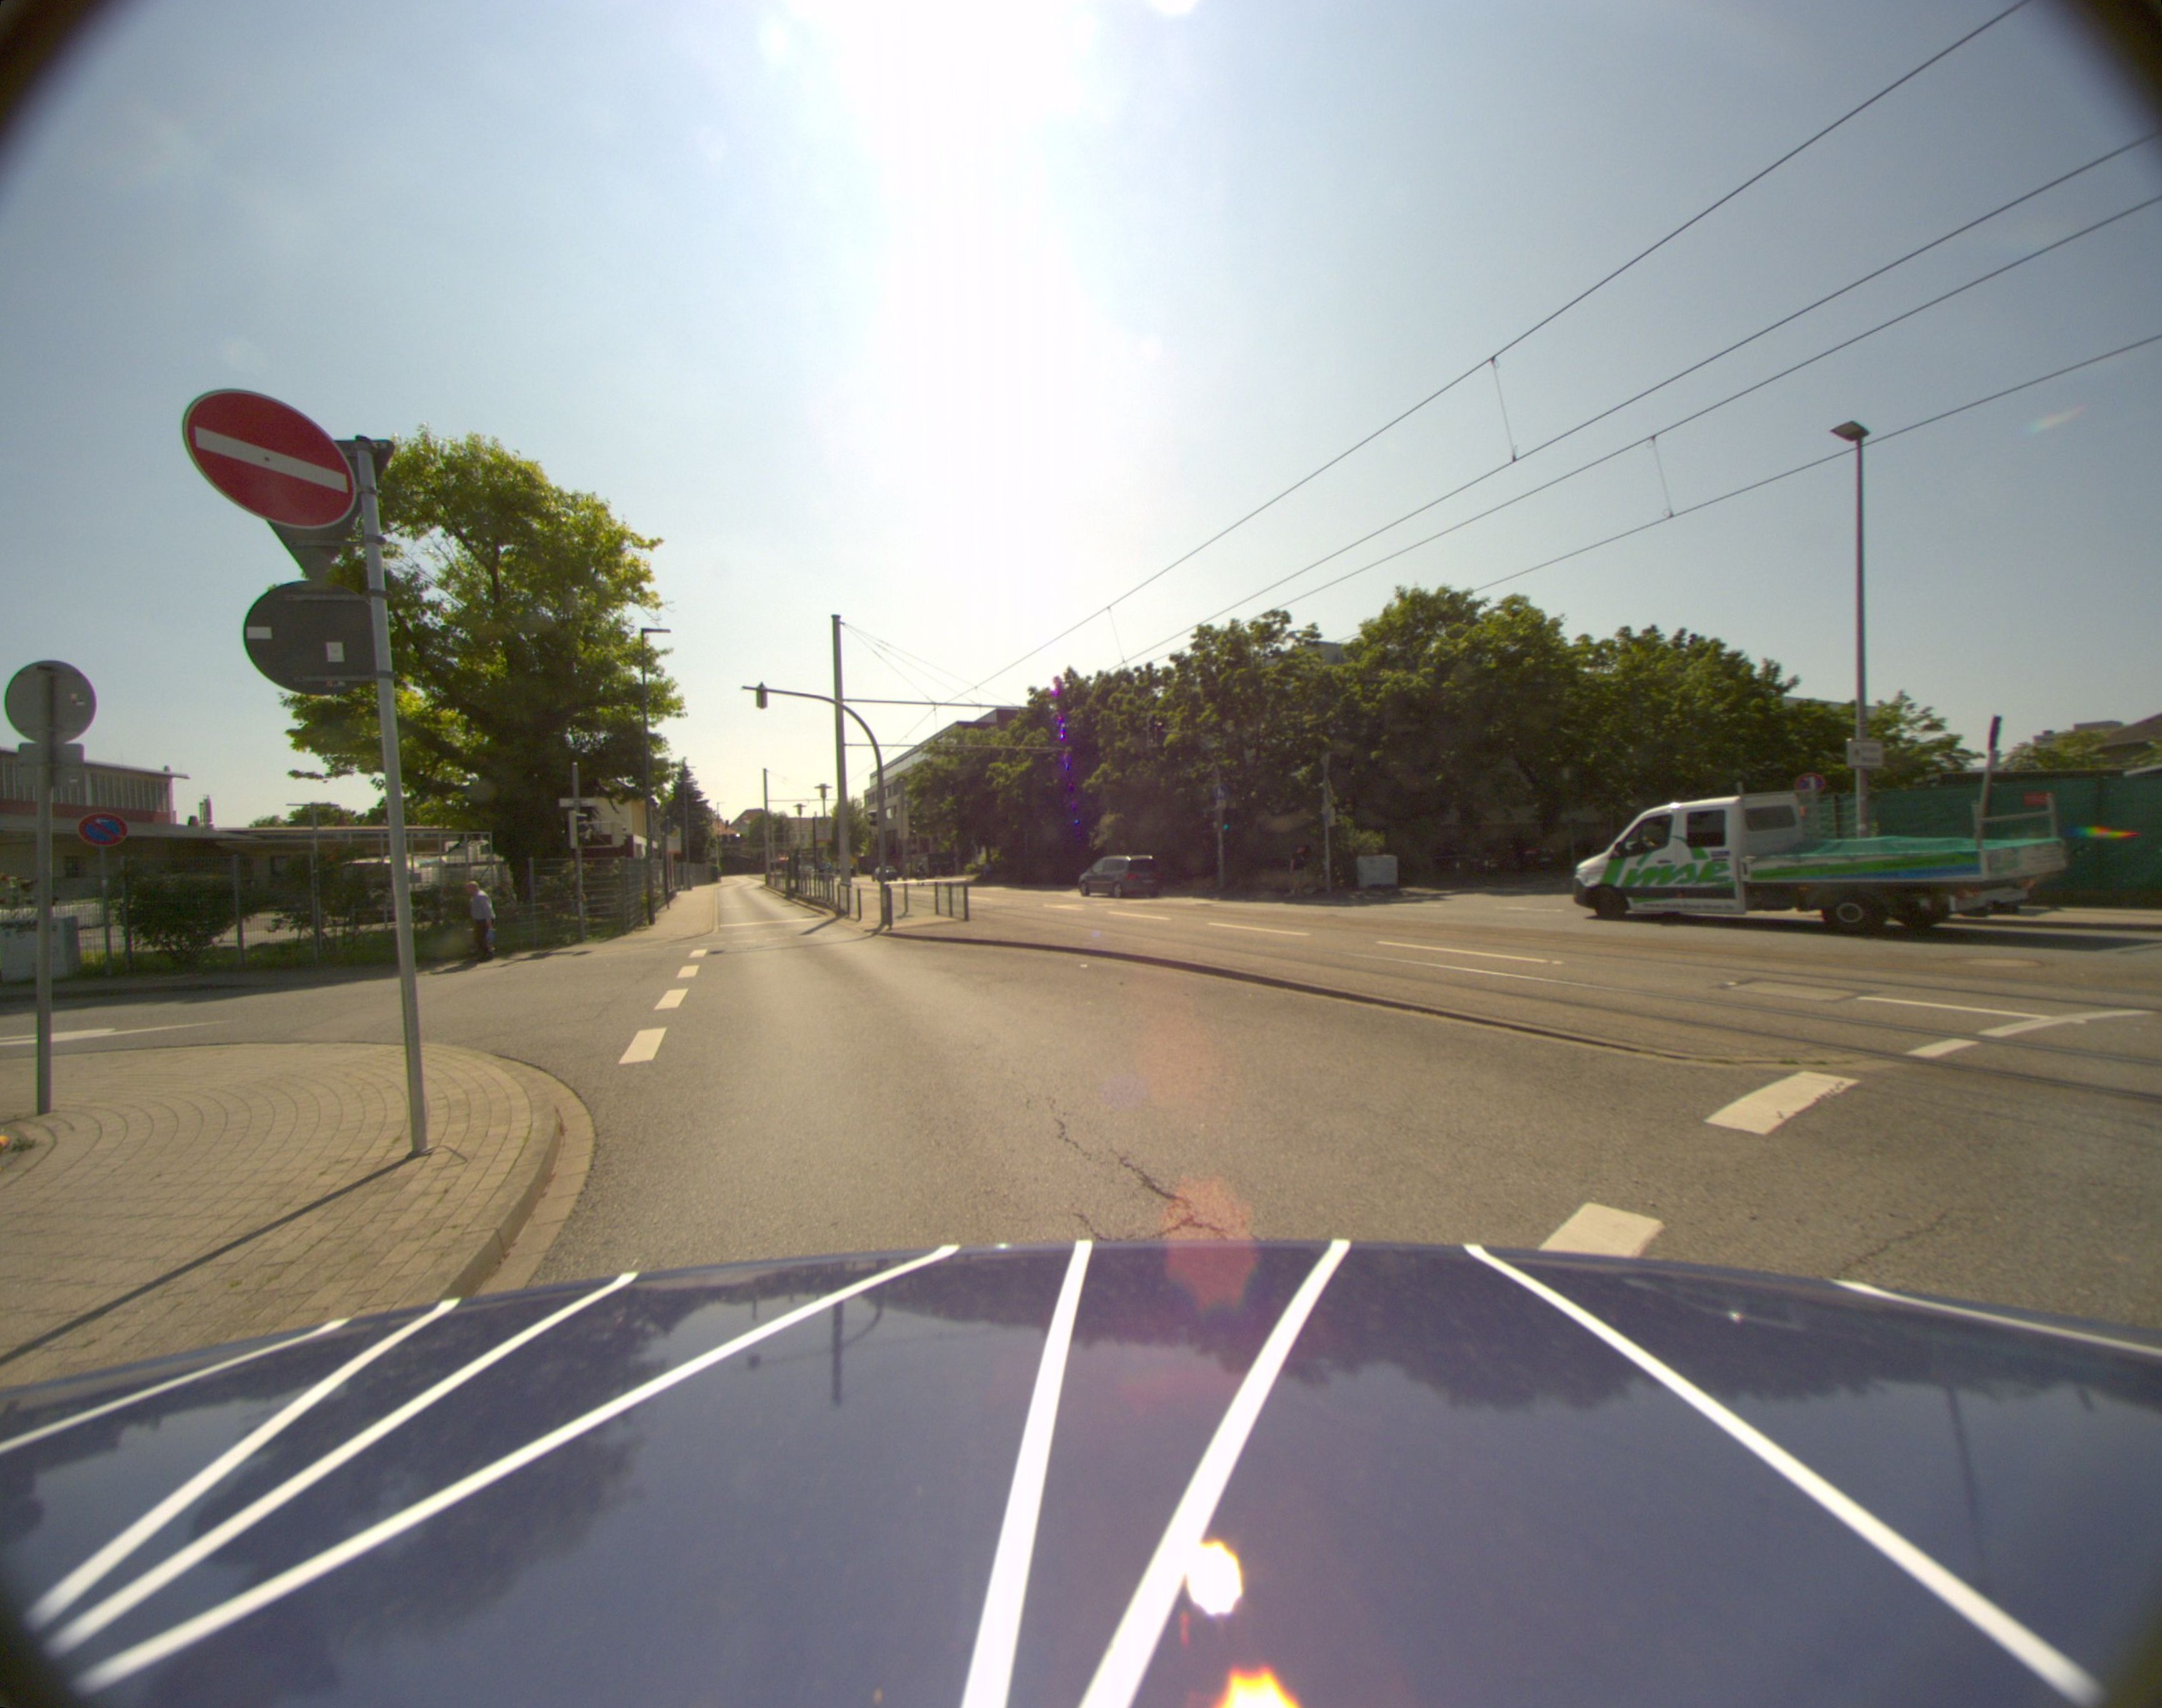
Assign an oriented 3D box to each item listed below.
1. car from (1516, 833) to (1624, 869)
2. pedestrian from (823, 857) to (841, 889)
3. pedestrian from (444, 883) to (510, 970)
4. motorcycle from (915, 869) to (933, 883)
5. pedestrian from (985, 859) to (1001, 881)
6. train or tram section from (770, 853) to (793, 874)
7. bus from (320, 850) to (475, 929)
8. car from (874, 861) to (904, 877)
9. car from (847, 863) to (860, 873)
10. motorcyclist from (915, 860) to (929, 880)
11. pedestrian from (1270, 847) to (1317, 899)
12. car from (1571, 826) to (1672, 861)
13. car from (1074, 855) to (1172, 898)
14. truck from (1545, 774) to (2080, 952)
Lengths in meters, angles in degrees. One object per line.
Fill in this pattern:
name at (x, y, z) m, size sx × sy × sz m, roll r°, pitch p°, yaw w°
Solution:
car at (21.826, -0.115, 33.984) m, size 3.856 × 1.458 × 1.629 m, roll -2°, pitch 0°, yaw 41°
pedestrian at (-13.472, 1.026, 41.028) m, size 0.727 × 1.714 × 0.943 m, roll -3°, pitch 0°, yaw -25°
pedestrian at (-12.522, 1.468, 15.766) m, size 0.813 × 1.689 × 0.889 m, roll -1°, pitch 0°, yaw 39°
motorcycle at (-12.026, 1.644, 58.085) m, size 0.826 × 1.005 × 1.960 m, roll -2°, pitch 0°, yaw -26°
pedestrian at (-6.243, 1.149, 53.893) m, size 0.874 × 1.518 × 0.844 m, roll -1°, pitch 0°, yaw -26°
train or tram section at (-50.932, 1.607, 129.071) m, size 2.686 × 3.464 × 12.303 m, roll -1°, pitch 0°, yaw -26°
bus at (-33.219, 1.488, 37.510) m, size 2.577 × 3.154 × 10.245 m, roll -2°, pitch 2°, yaw -24°
car at (-18.199, 1.403, 71.959) m, size 1.915 × 1.433 × 4.586 m, roll 0°, pitch -1°, yaw -25°
car at (-38.346, 2.346, 128.165) m, size 2.002 × 1.613 × 3.994 m, roll -1°, pitch 0°, yaw -18°
motorcyclist at (-12.226, 1.235, 58.428) m, size 0.839 × 1.466 × 0.961 m, roll -2°, pitch 1°, yaw -26°
pedestrian at (7.281, 0.651, 26.021) m, size 0.889 × 1.661 × 1.158 m, roll -6°, pitch 2°, yaw -26°
car at (27.642, -0.526, 38.975) m, size 1.628 × 1.628 × 3.858 m, roll -2°, pitch 0°, yaw -31°
car at (1.595, 0.855, 30.381) m, size 1.936 × 1.574 × 4.181 m, roll 1°, pitch 0°, yaw -30°
truck at (11.913, 0.117, 13.317) m, size 2.211 × 2.323 × 6.378 m, roll -3°, pitch 0°, yaw -21°
